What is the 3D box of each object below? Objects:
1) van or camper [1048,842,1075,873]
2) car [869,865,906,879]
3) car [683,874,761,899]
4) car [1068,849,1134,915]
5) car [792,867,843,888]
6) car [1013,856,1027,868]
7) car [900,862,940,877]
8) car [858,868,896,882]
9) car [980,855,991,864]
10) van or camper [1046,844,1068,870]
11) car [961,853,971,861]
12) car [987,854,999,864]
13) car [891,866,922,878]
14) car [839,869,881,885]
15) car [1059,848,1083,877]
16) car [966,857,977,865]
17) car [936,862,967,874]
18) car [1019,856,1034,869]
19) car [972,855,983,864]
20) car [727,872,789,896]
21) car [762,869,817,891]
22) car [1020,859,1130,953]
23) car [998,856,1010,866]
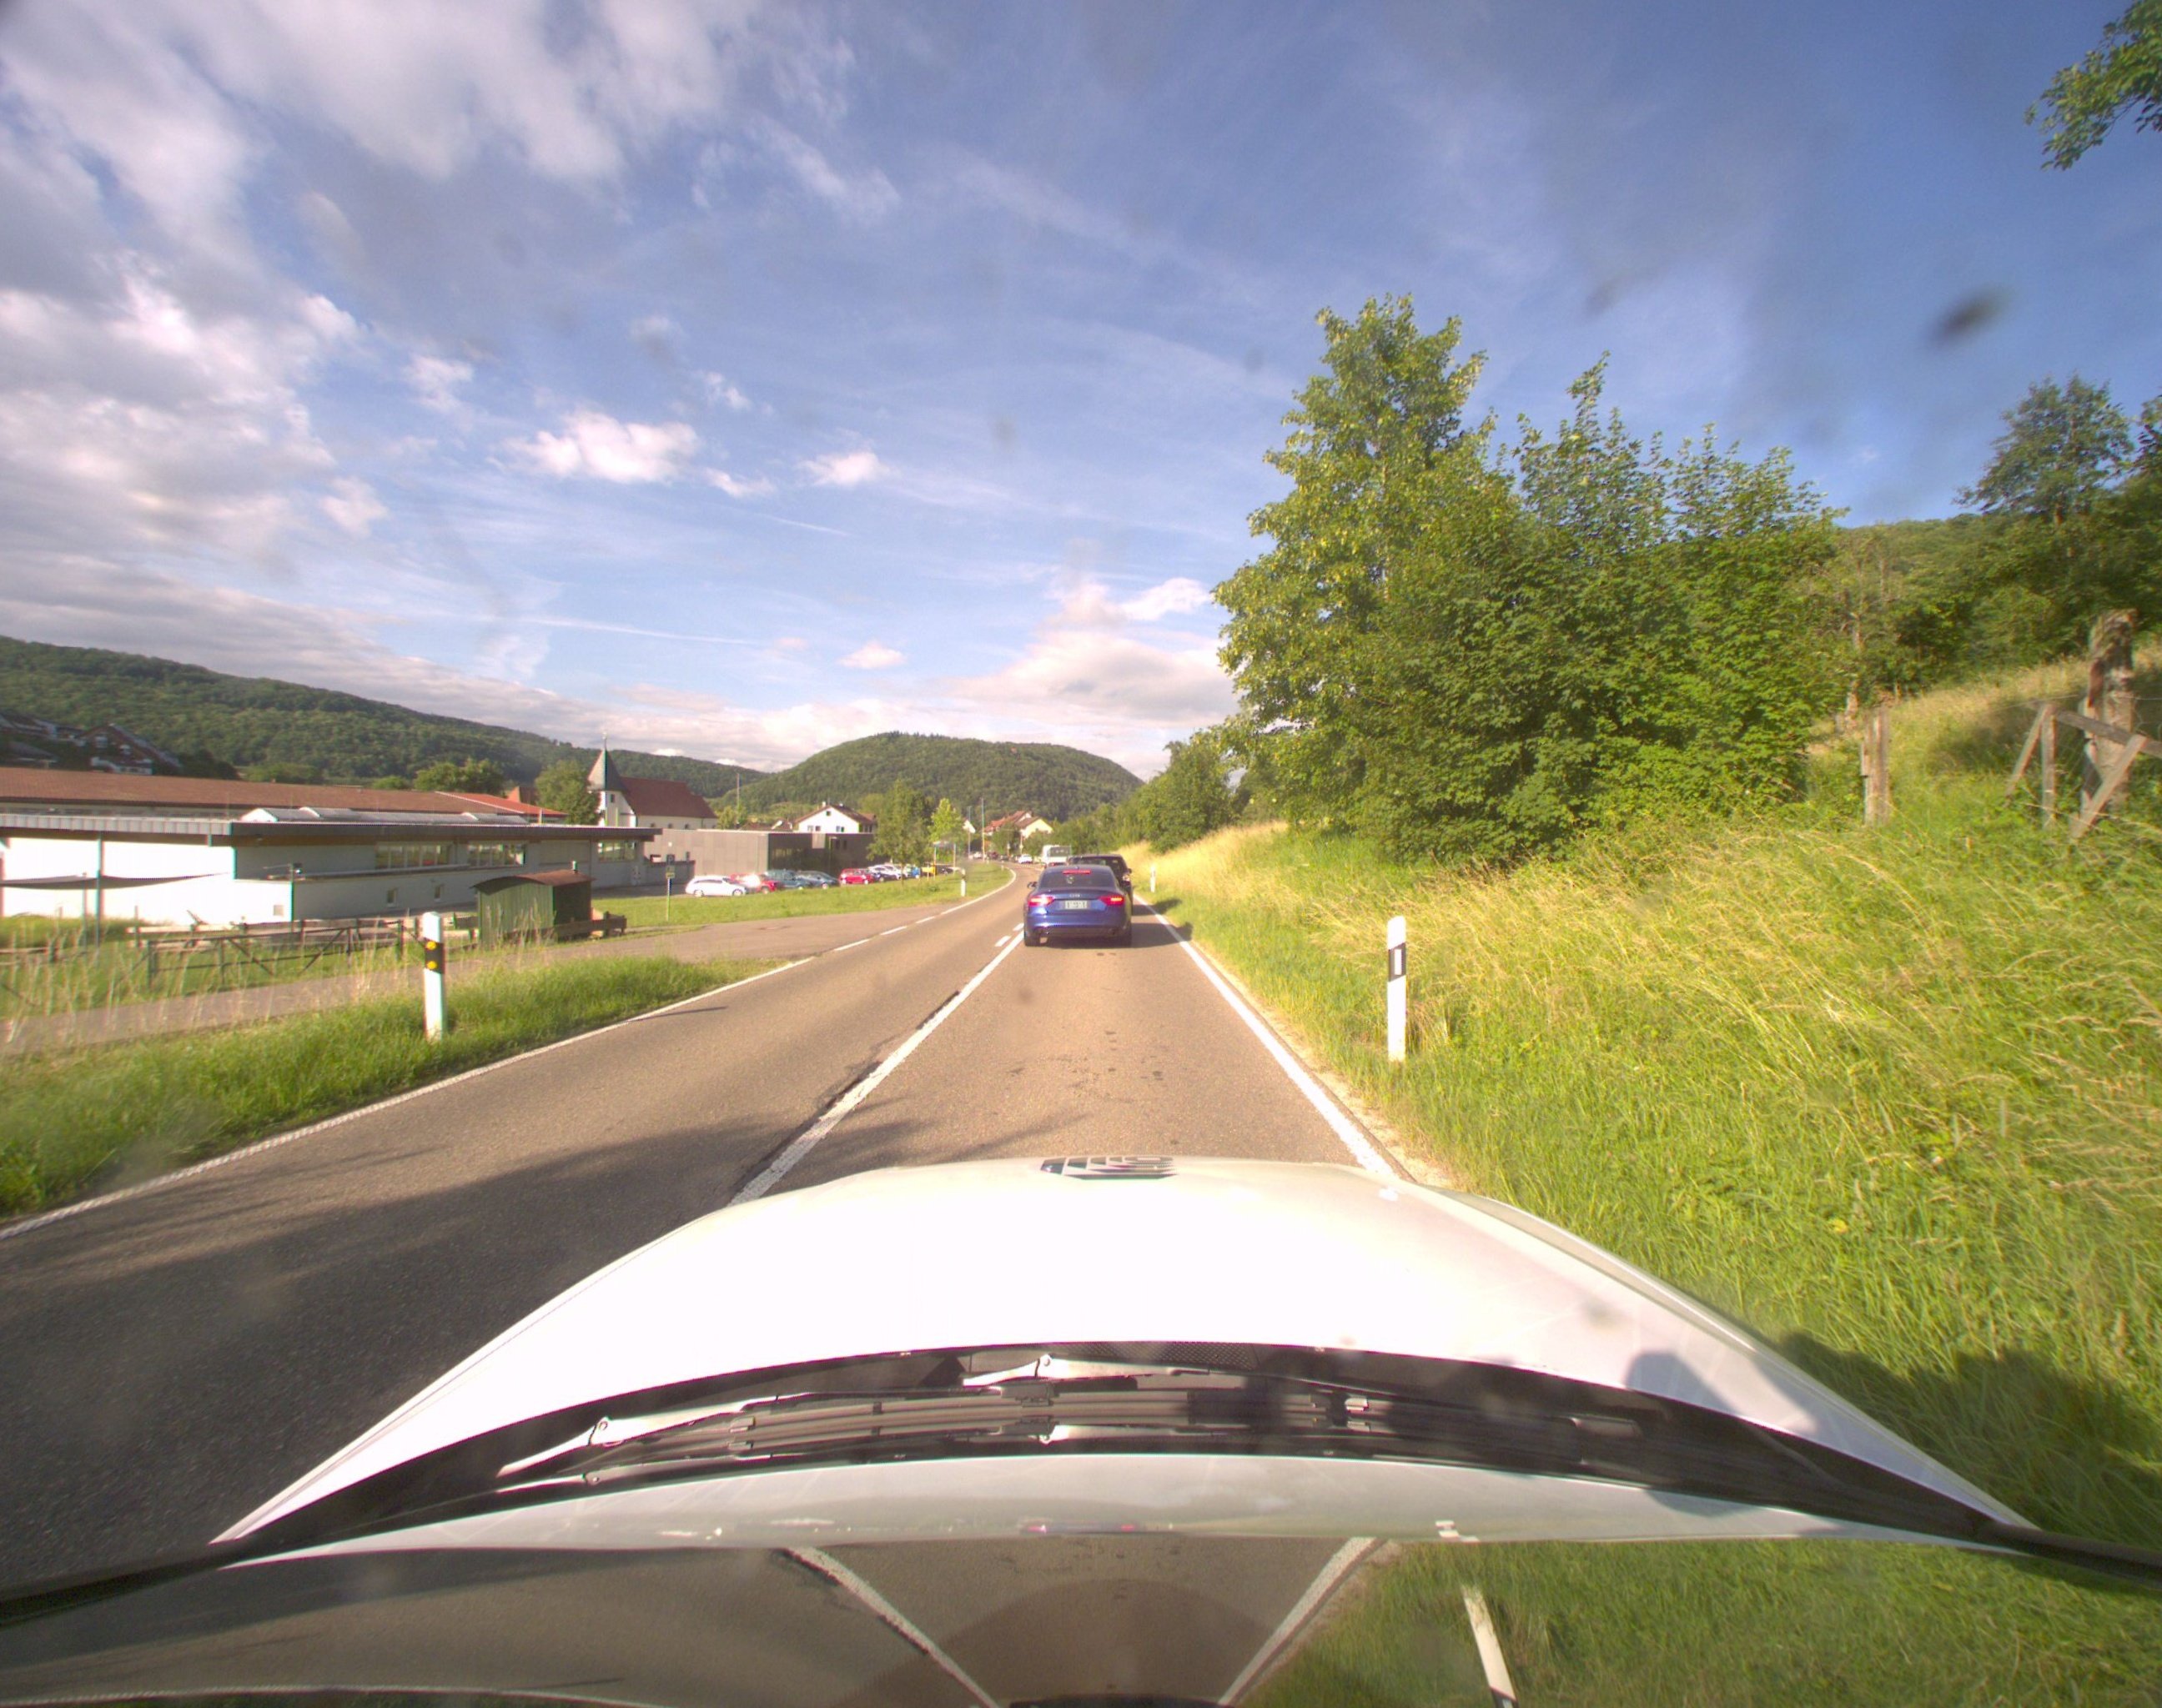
[{"bbox_3d":[-1.734,0.283,70.542,2.048,2.505,5.804,-2,0,-3],"label":"van or camper"},{"bbox_3d":[-21.217,1.975,89.370,3.647,1.494,1.599,-2,0,6],"label":"car"},{"bbox_3d":[-25.474,2.291,57.904,4.617,1.589,2.003,-2,0,5],"label":"car"},{"bbox_3d":[0.495,0.701,22.004,1.640,1.625,3.516,0,0,-1],"label":"car"},{"bbox_3d":[-22.953,2.068,71.045,3.799,1.722,1.735,-2,-1,5],"label":"car"},{"bbox_3d":[-10.031,1.376,133.926,1.661,1.924,3.983,-2,0,-12],"label":"car"},{"bbox_3d":[-19.981,1.917,101.190,4.529,1.815,1.844,-2,0,6],"label":"car"},{"bbox_3d":[-21.575,2.235,86.211,3.605,1.405,1.599,-2,-3,6],"label":"car"},{"bbox_3d":[-20.567,1.189,175.217,1.682,1.924,3.975,-2,0,-18],"label":"car"},{"bbox_3d":[-2.638,0.327,88.081,2.276,2.714,5.760,1,-1,-3],"label":"van or camper"},{"bbox_3d":[-28.204,0.694,199.053,1.682,1.924,3.975,-2,0,-18],"label":"car"},{"bbox_3d":[-18.029,1.079,166.660,1.681,1.924,3.977,-2,0,-17],"label":"car"},{"bbox_3d":[-21.064,2.156,98.646,3.359,1.373,1.659,-2,0,-1],"label":"car"},{"bbox_3d":[-22.019,2.268,81.132,3.605,1.444,1.652,0,1,6],"label":"car"},{"bbox_3d":[-0.745,0.605,59.408,1.563,2.013,3.996,-2,0,-3],"label":"car"},{"bbox_3d":[-25.710,1.608,191.407,1.960,1.924,3.975,-2,0,-18],"label":"car"},{"bbox_3d":[-18.448,1.984,115.824,4.014,1.660,1.659,-2,0,6],"label":"car"},{"bbox_3d":[-8.260,1.262,122.720,1.660,1.924,3.985,-2,0,-11],"label":"car"},{"bbox_3d":[-23.377,1.230,183.301,1.682,1.924,3.975,-2,0,-18],"label":"car"},{"bbox_3d":[-24.122,2.235,60.867,3.900,1.579,1.758,-2,0,5],"label":"car"},{"bbox_3d":[-23.731,2.084,66.338,3.845,1.722,1.757,-1,0,3],"label":"car"},{"bbox_3d":[-0.013,0.828,14.586,1.735,1.450,3.519,0,0,2],"label":"car"},{"bbox_3d":[-14.400,1.338,152.240,1.663,1.924,3.979,-2,0,-16],"label":"car"}]
